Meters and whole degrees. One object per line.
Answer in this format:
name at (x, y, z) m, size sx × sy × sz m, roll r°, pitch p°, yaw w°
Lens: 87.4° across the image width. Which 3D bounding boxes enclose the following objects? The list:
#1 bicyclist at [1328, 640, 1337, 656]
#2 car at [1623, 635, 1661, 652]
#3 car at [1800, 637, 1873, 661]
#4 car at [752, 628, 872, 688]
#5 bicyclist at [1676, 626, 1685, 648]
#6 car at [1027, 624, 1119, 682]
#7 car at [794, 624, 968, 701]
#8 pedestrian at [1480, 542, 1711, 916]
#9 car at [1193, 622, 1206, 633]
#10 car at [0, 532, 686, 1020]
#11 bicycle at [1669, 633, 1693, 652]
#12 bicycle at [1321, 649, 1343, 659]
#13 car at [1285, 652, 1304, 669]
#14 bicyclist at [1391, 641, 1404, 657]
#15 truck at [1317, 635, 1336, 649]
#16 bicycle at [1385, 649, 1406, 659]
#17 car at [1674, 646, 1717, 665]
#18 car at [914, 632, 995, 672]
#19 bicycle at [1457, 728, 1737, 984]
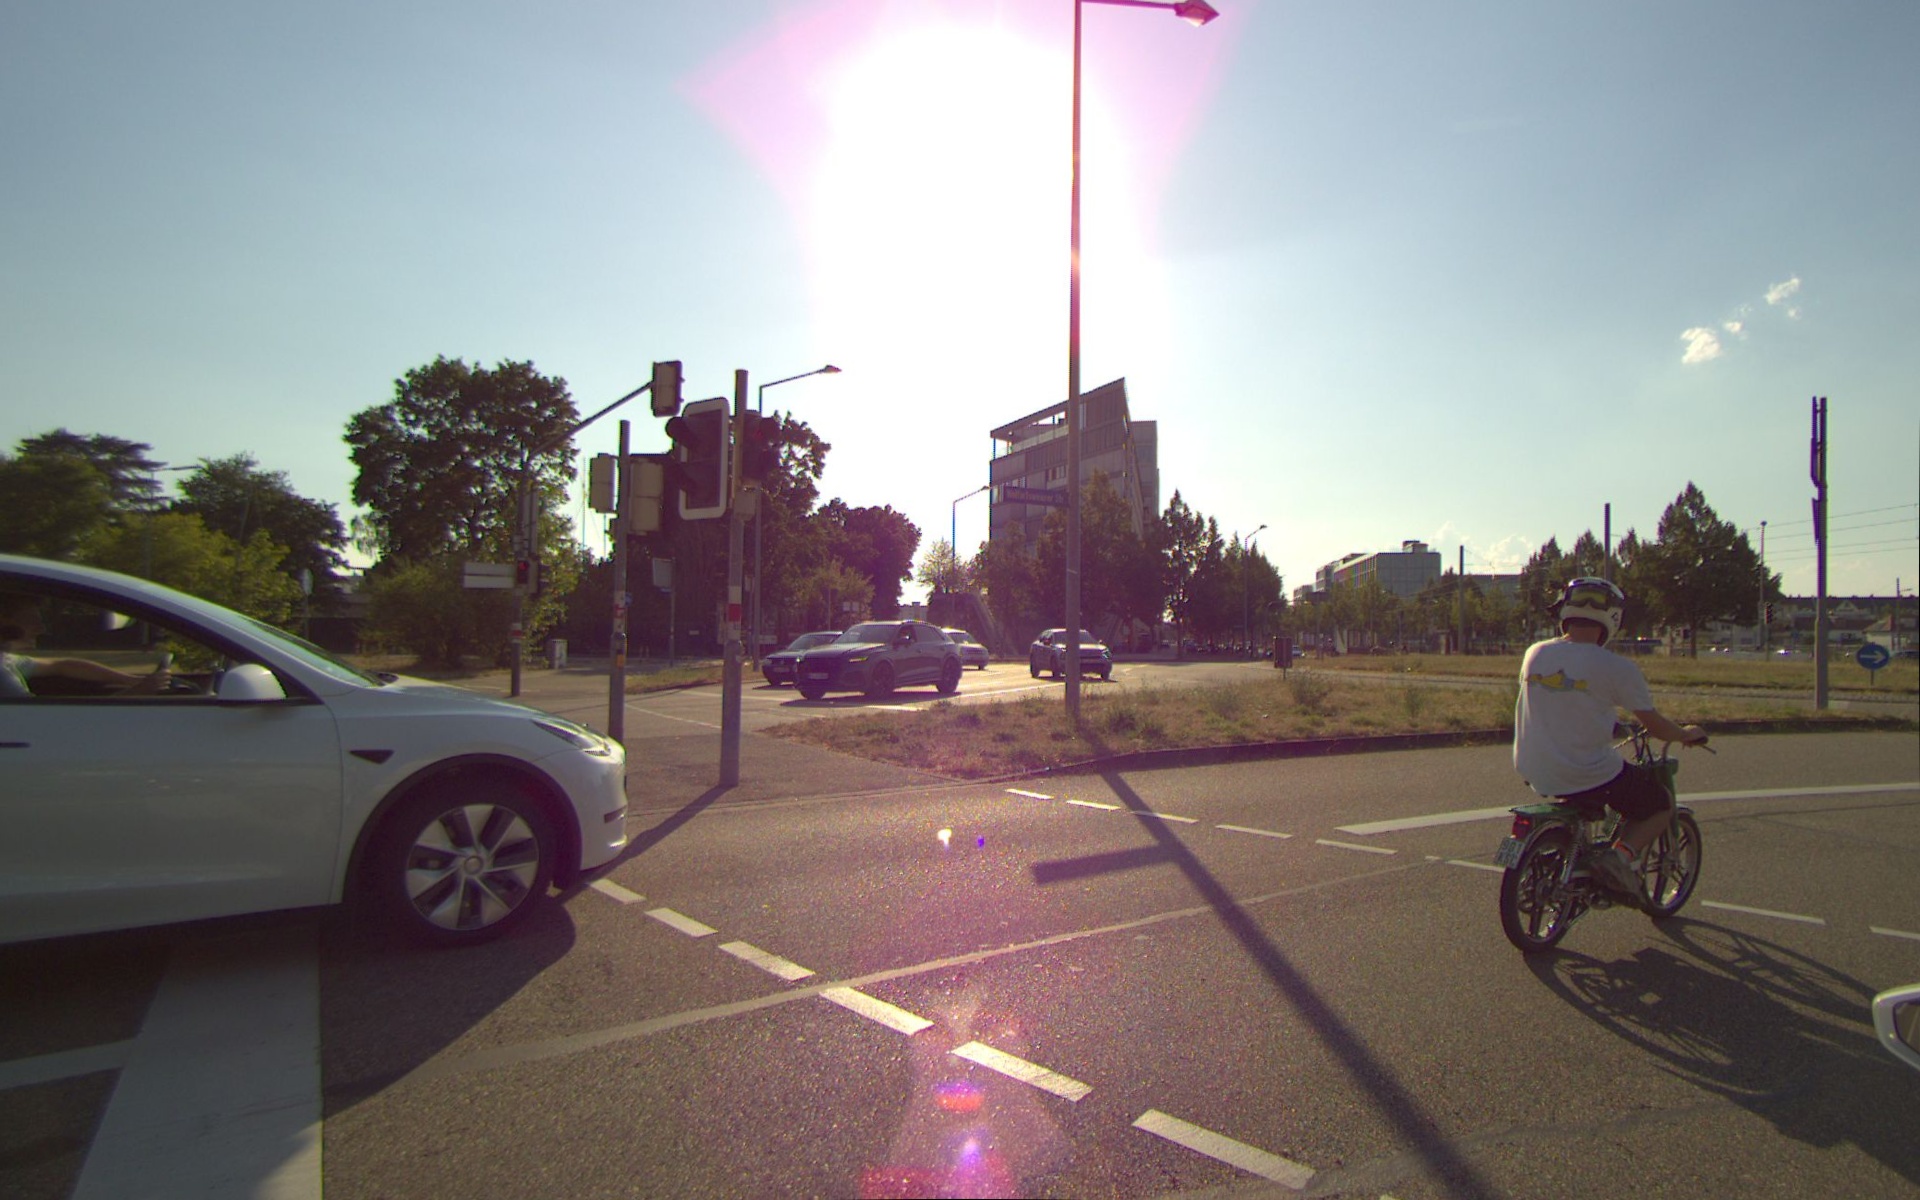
bicyclist at (30.983, 4.008, 83.486) m, size 0.641 × 1.343 × 0.519 m, roll 0°, pitch -2°, yaw 12°
car at (82.469, 5.269, 121.530) m, size 1.960 × 2.040 × 4.002 m, roll 1°, pitch -2°, yaw 2°
car at (69.726, 3.875, 79.975) m, size 3.925 × 1.839 × 1.998 m, roll 0°, pitch -2°, yaw 26°
car at (-4.020, 1.582, 27.951) m, size 1.621 × 1.532 × 3.828 m, roll -1°, pitch -2°, yaw 21°
bicyclist at (57.032, 2.918, 79.500) m, size 0.599 × 1.694 × 0.476 m, roll 0°, pitch -2°, yaw 37°
car at (3.473, 1.624, 31.547) m, size 1.745 × 1.695 × 4.192 m, roll 1°, pitch -2°, yaw -10°
car at (-1.599, 1.335, 22.307) m, size 1.623 × 1.532 × 4.638 m, roll -1°, pitch -3°, yaw 28°
pedestrian at (2.942, 0.547, 4.656) m, size 0.846 × 1.539 × 0.651 m, roll 2°, pitch -2°, yaw -37°
car at (38.134, 4.339, 160.086) m, size 1.753 × 1.576 × 4.003 m, roll 2°, pitch 0°, yaw 11°
car at (-3.665, 0.581, 4.039) m, size 4.634 × 1.620 × 1.722 m, roll 2°, pitch -1°, yaw -37°
bicycle at (57.054, 3.334, 79.459) m, size 1.520 × 1.493 × 0.478 m, roll -1°, pitch -2°, yaw 38°
bicycle at (30.908, 4.500, 83.498) m, size 1.687 × 0.754 × 0.481 m, roll 0°, pitch -2°, yaw 11°
car at (30.638, 5.529, 92.044) m, size 1.454 × 1.495 × 3.302 m, roll 0°, pitch -2°, yaw 15°
bicyclist at (37.383, 4.179, 85.776) m, size 0.938 × 1.375 × 0.694 m, roll 0°, pitch -2°, yaw 14°
truck at (85.368, 9.771, 234.137) m, size 3.074 × 3.273 × 7.179 m, roll 0°, pitch -2°, yaw 12°
bicycle at (37.186, 4.600, 85.803) m, size 1.586 × 0.871 × 0.546 m, roll 0°, pitch -1°, yaw 11°
car at (82.475, 6.162, 112.742) m, size 1.960 × 2.040 × 4.002 m, roll 1°, pitch -2°, yaw 2°
car at (-0.268, 2.099, 41.147) m, size 1.637 × 1.545 × 3.913 m, roll 2°, pitch -2°, yaw -29°
bicycle at (3.049, 1.110, 4.730) m, size 1.838 × 0.887 × 0.474 m, roll 2°, pitch -2°, yaw -36°
